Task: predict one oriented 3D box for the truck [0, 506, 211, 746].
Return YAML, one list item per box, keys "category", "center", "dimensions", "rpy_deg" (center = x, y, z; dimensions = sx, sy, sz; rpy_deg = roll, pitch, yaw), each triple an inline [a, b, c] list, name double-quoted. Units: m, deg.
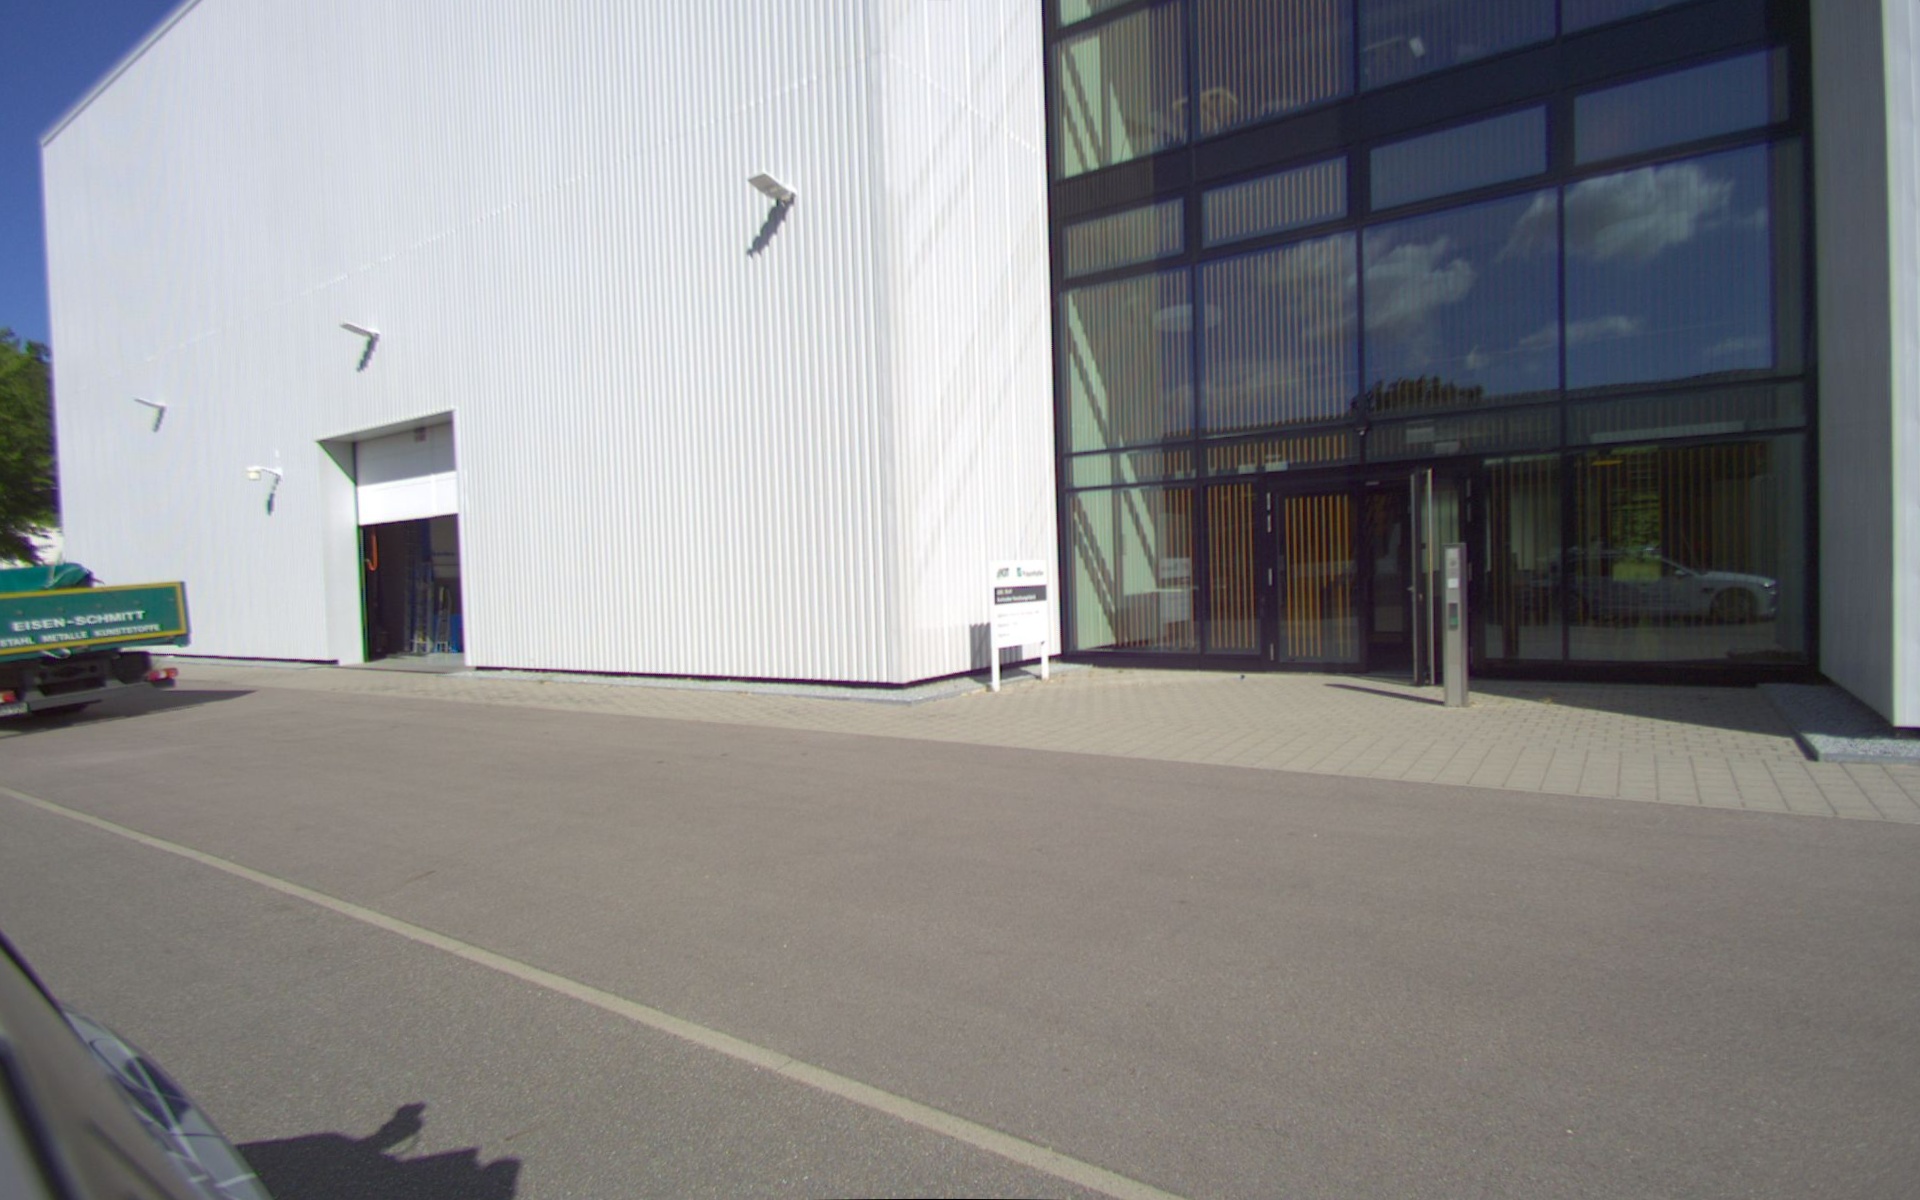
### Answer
- category: "truck"
  center: [-15.123, 0.385, 14.278]
  dimensions: [9.629, 2.736, 2.571]
  rpy_deg: [-2, 3, 22]
